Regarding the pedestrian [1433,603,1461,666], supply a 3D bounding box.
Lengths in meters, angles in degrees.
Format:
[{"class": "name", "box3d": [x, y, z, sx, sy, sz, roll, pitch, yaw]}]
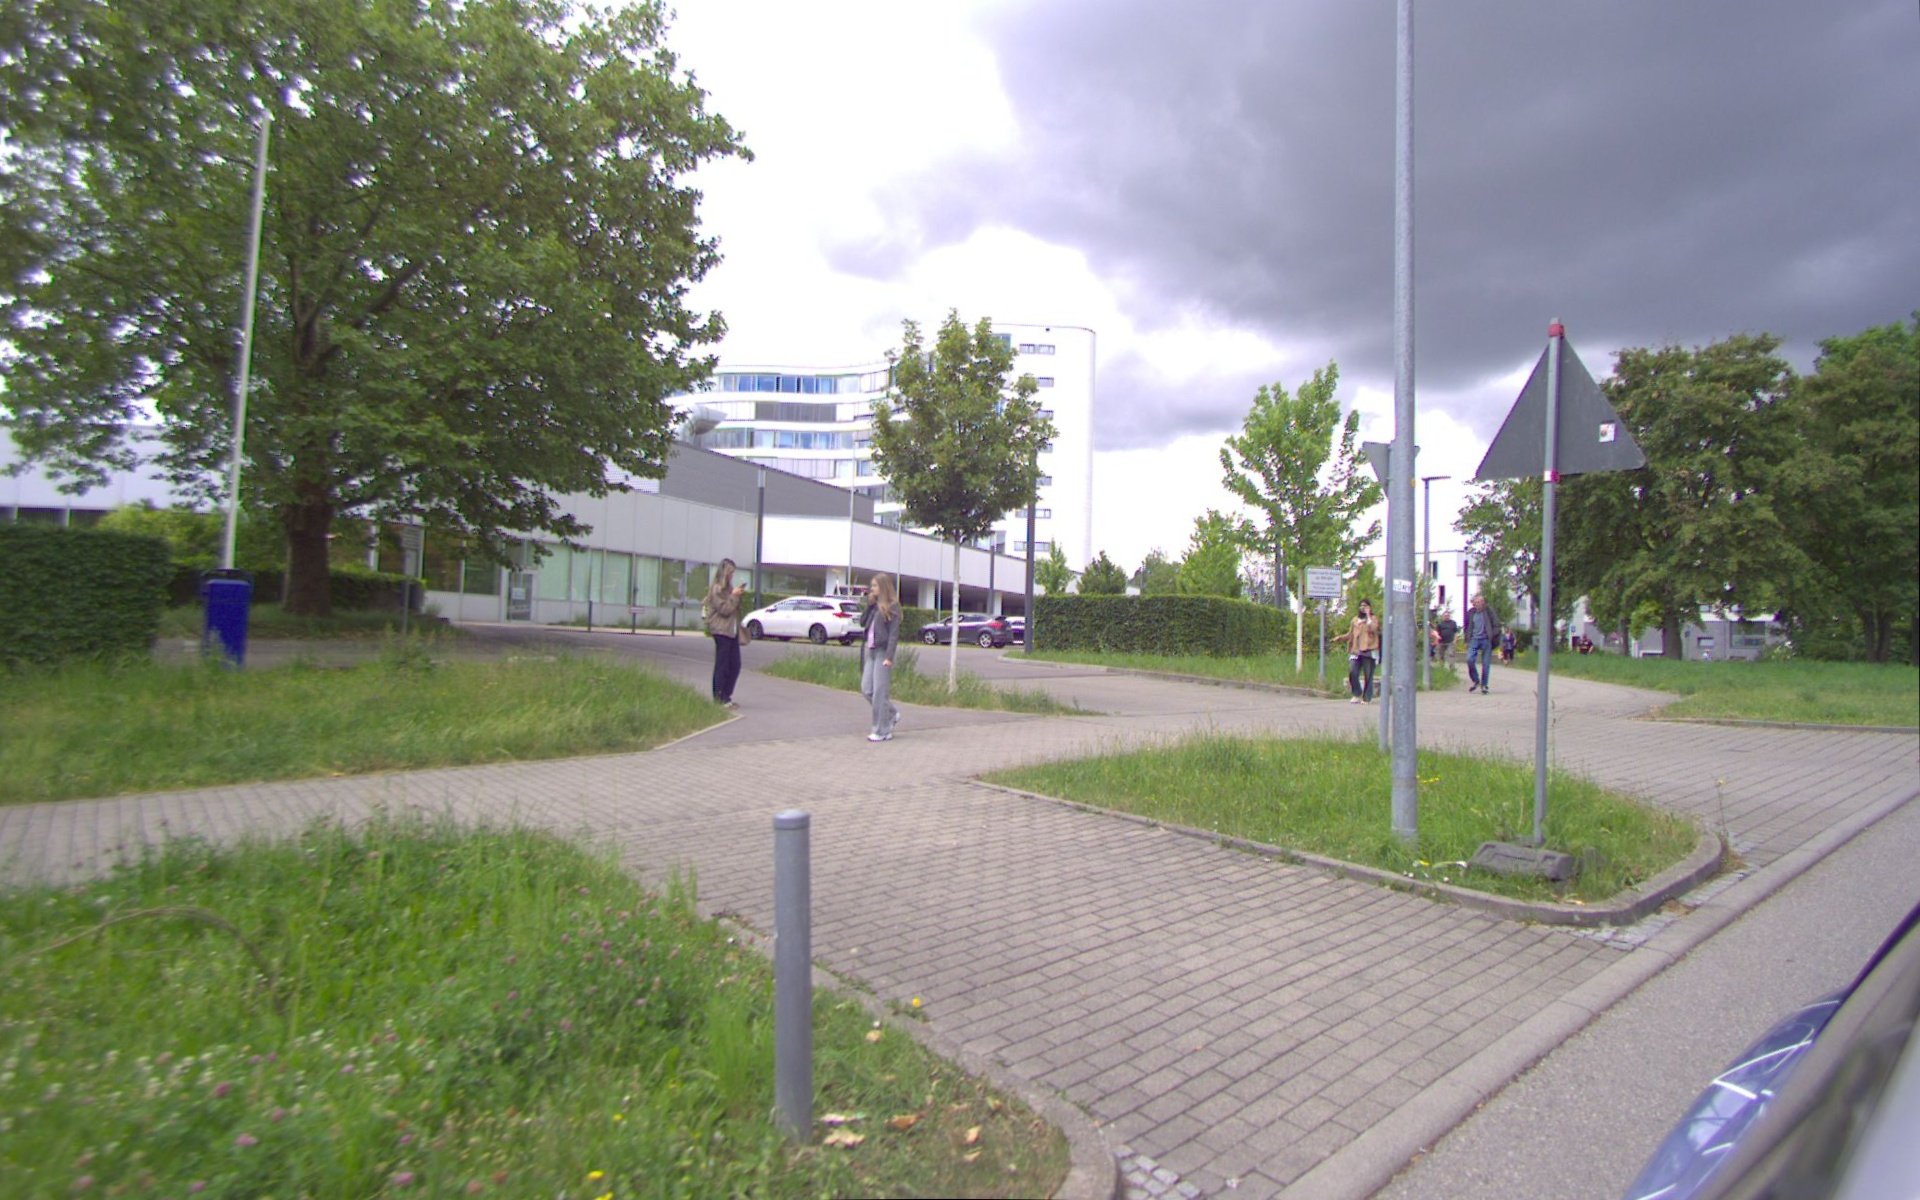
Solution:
[{"class": "pedestrian", "box3d": [13.124, 0.930, 27.292, 0.630, 1.665, 0.599, 0, -2, 21]}]

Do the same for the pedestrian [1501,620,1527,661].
[{"class": "pedestrian", "box3d": [22.241, 1.624, 40.629, 0.653, 1.627, 0.677, 1, -2, -27]}]

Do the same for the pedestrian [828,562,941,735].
[{"class": "pedestrian", "box3d": [-0.757, 0.468, 10.152, 0.913, 1.642, 0.690, 1, -2, -31]}]

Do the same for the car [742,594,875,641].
[{"class": "car", "box3d": [-4.901, 0.556, 32.609, 4.083, 1.408, 1.691, 0, -1, 30]}]

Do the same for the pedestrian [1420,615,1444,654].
[{"class": "pedestrian", "box3d": [18.963, 1.376, 40.676, 0.656, 1.526, 0.674, 2, -2, -44]}]

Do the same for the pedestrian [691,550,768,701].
[{"class": "pedestrian", "box3d": [-2.746, 0.300, 12.046, 0.692, 1.733, 0.656, 1, -2, -34]}]

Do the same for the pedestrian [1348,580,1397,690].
[{"class": "pedestrian", "box3d": [6.515, 0.540, 16.015, 0.644, 1.690, 0.892, 0, -1, 19]}]

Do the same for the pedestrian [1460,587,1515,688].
[{"class": "pedestrian", "box3d": [9.420, 0.661, 18.113, 0.753, 1.744, 0.880, 0, -2, 21]}]

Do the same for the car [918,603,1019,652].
[{"class": "car", "box3d": [0.380, 1.171, 43.855, 3.957, 2.039, 1.983, 0, -1, 25]}]

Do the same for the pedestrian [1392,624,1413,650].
[{"class": "pedestrian", "box3d": [19.778, 1.649, 45.272, 0.656, 1.156, 0.674, 2, -2, -44]}]

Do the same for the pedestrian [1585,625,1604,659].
[{"class": "pedestrian", "box3d": [27.499, 1.804, 43.868, 0.670, 1.433, 0.660, 0, -2, 29]}]
